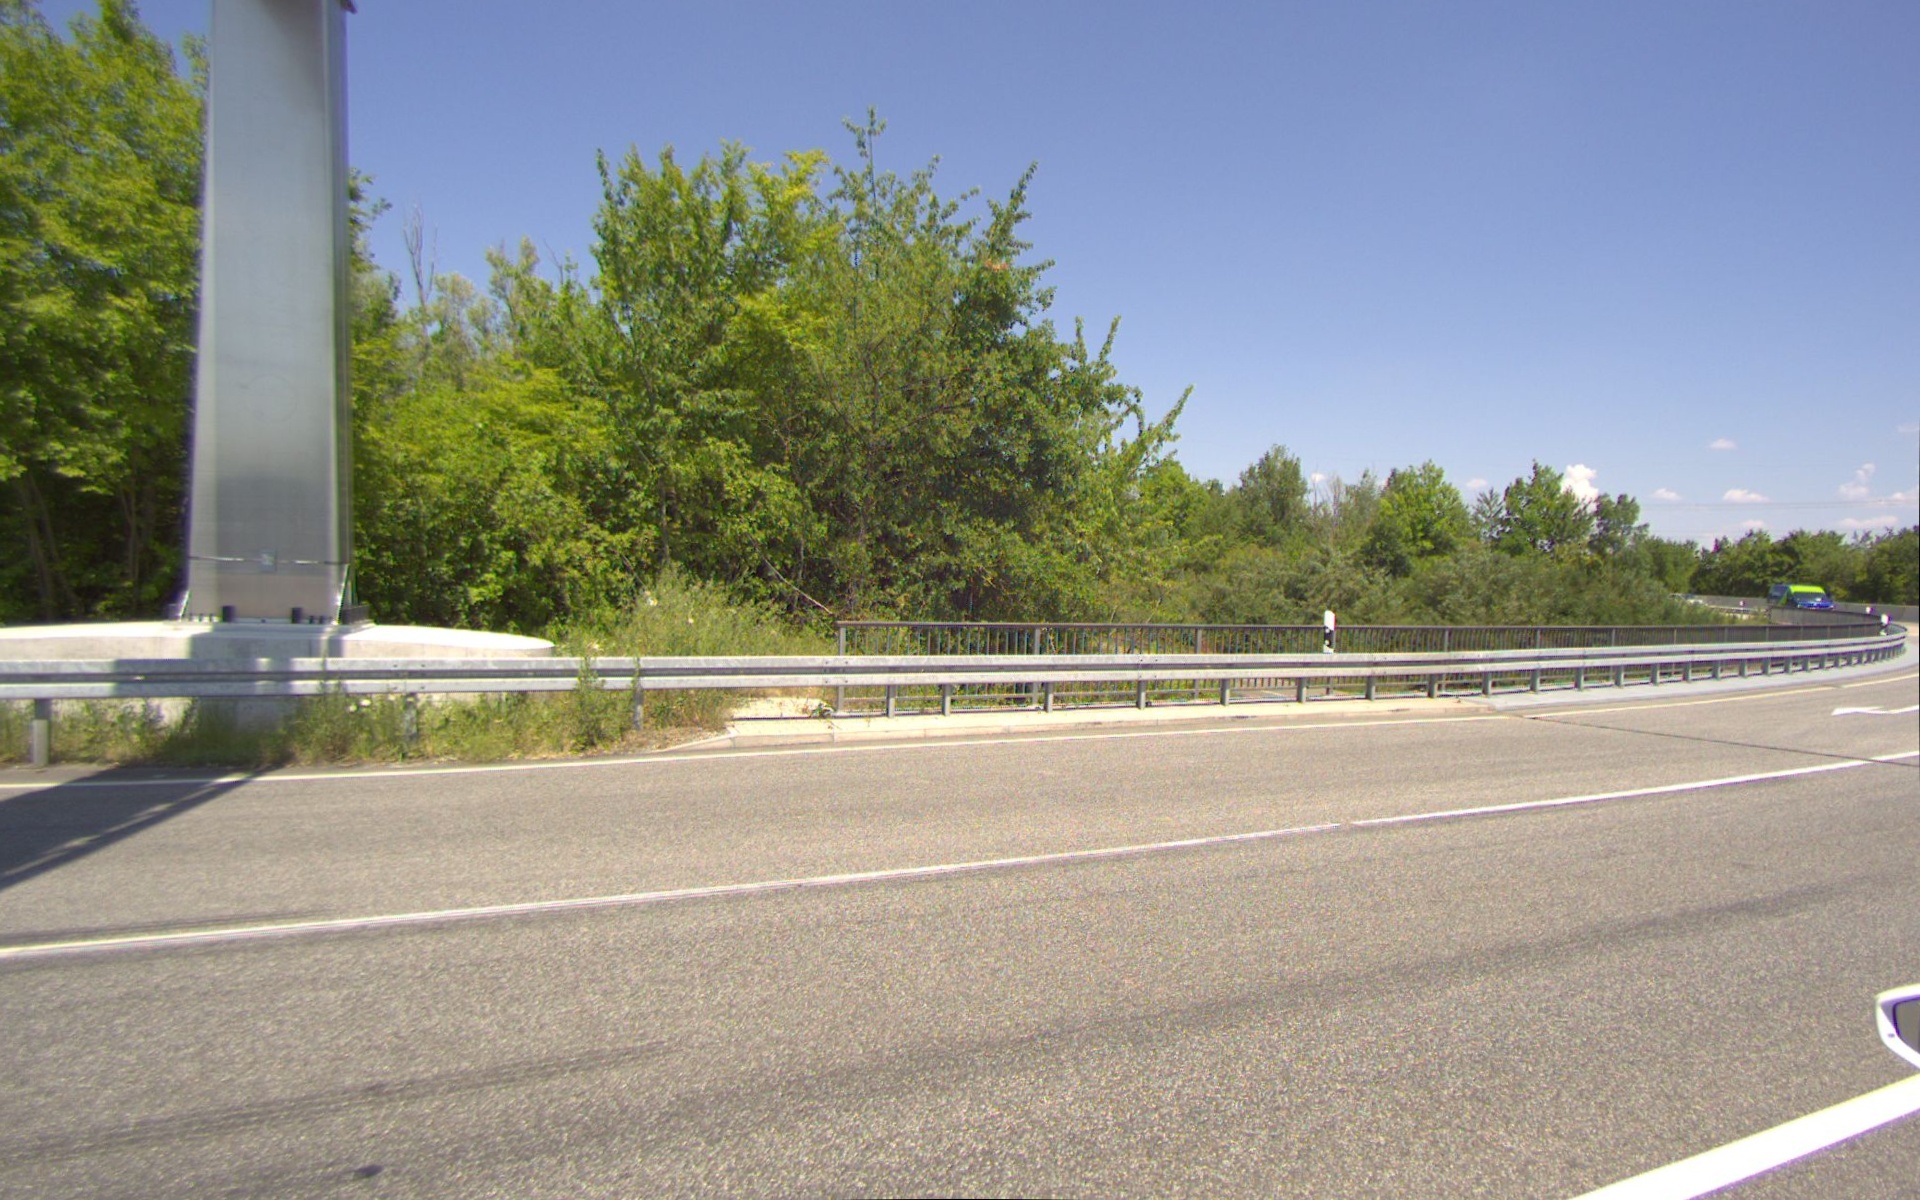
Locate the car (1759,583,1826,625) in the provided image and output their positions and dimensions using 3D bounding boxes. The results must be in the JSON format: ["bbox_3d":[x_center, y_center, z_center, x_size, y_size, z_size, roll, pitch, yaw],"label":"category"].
[{"bbox_3d":[55.941,0.232,67.608,1.963,2.517,5.475,-5,0,24],"label":"car"}]
